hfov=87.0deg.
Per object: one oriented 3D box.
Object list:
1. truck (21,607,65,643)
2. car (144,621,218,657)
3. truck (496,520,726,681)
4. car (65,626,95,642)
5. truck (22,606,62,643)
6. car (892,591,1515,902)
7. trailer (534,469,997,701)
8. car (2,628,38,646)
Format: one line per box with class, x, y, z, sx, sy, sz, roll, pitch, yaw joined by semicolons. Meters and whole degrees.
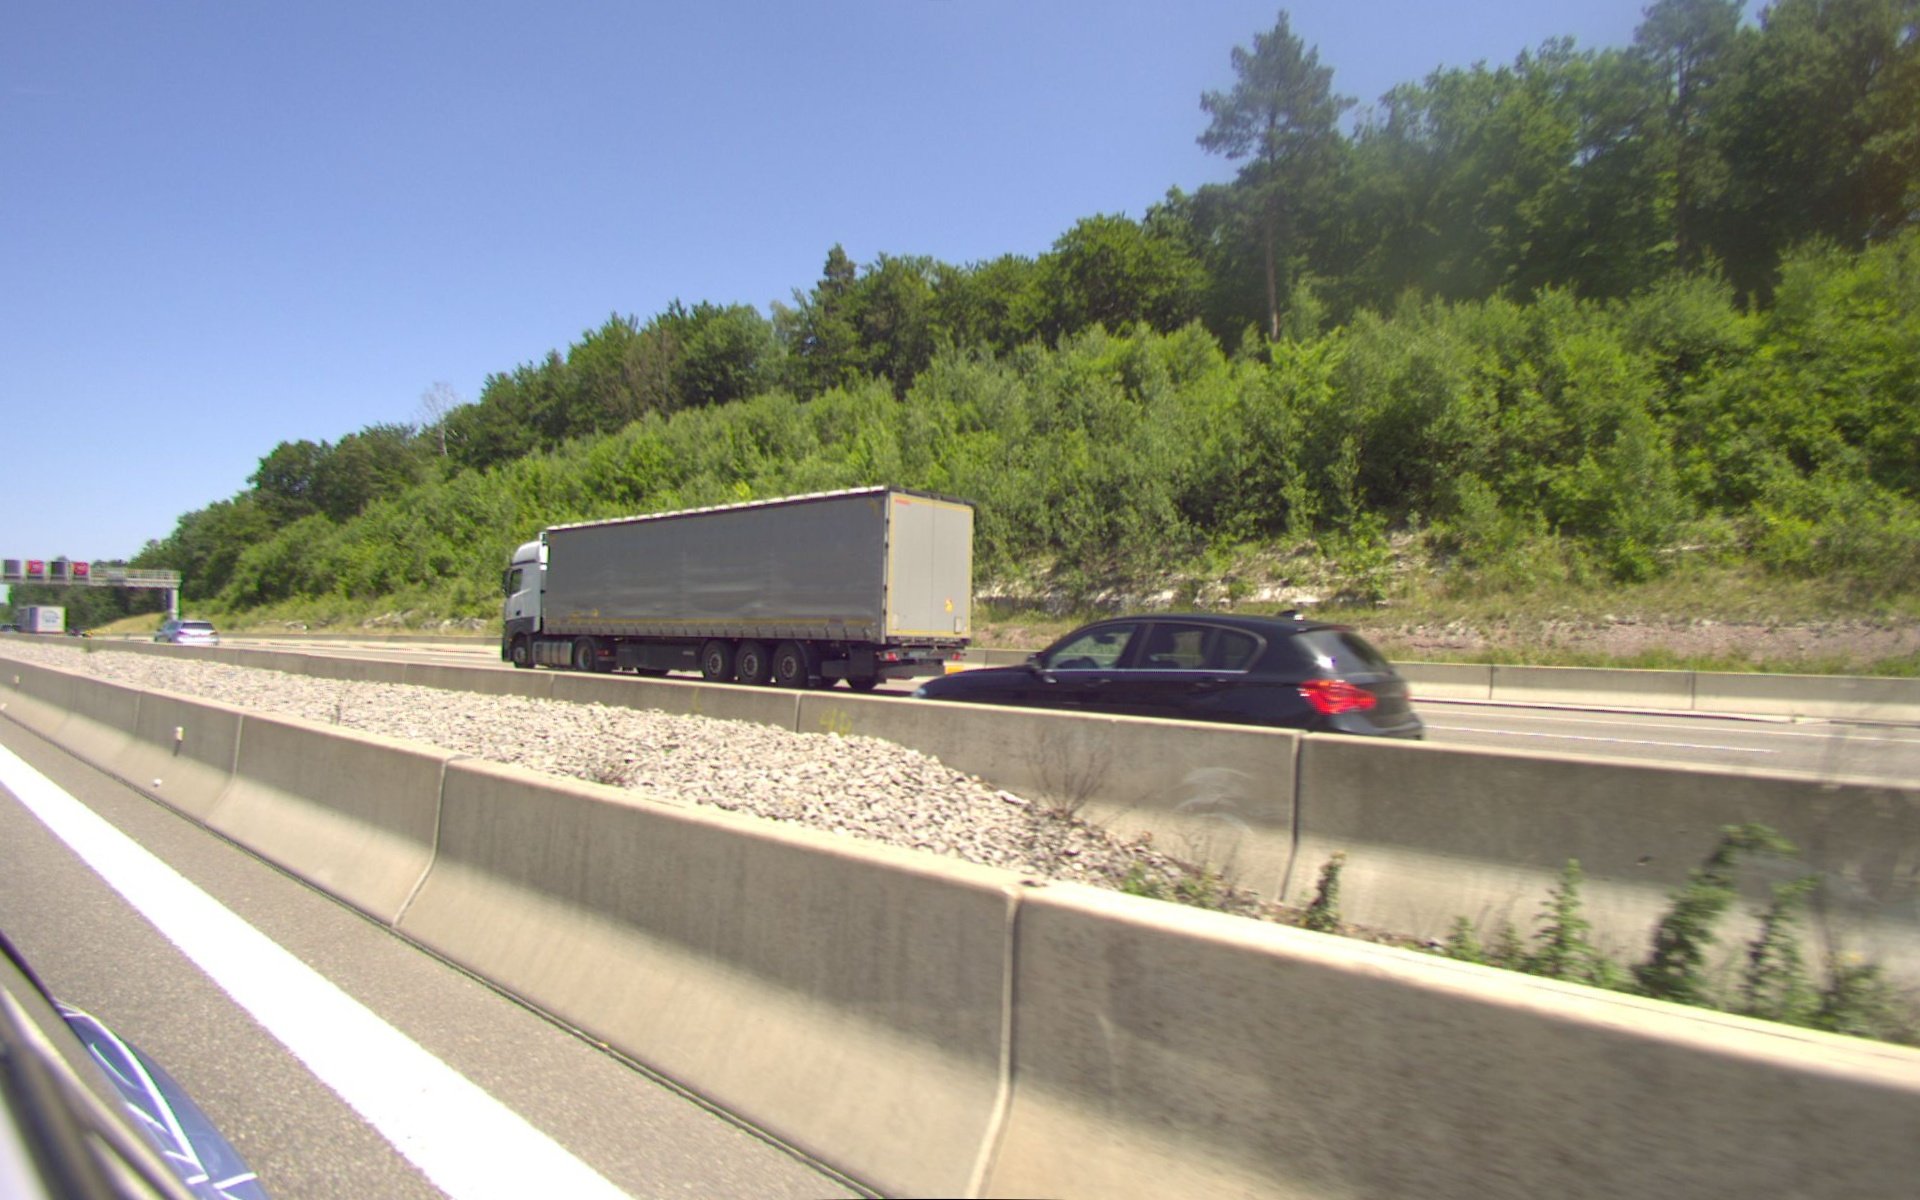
truck;-111.911;3.034;123.470;9.859;4.261;2.881;-1;-2;42
car;-35.193;1.717;45.681;5.057;1.560;1.661;-1;-2;41
truck;-9.991;0.083;28.632;6.794;4.013;3.231;-1;-2;41
car;-92.892;3.563;106.826;4.159;1.667;1.885;-1;-2;42
truck;-111.422;2.961;122.815;8.409;4.261;2.632;-1;-2;41
car;1.688;0.887;8.021;4.466;1.790;1.851;-1;-2;41
trailer;-5.451;-0.148;24.444;13.833;4.286;3.068;-1;-3;41
car;-75.809;2.961;81.604;3.869;1.393;1.721;-1;-2;42
